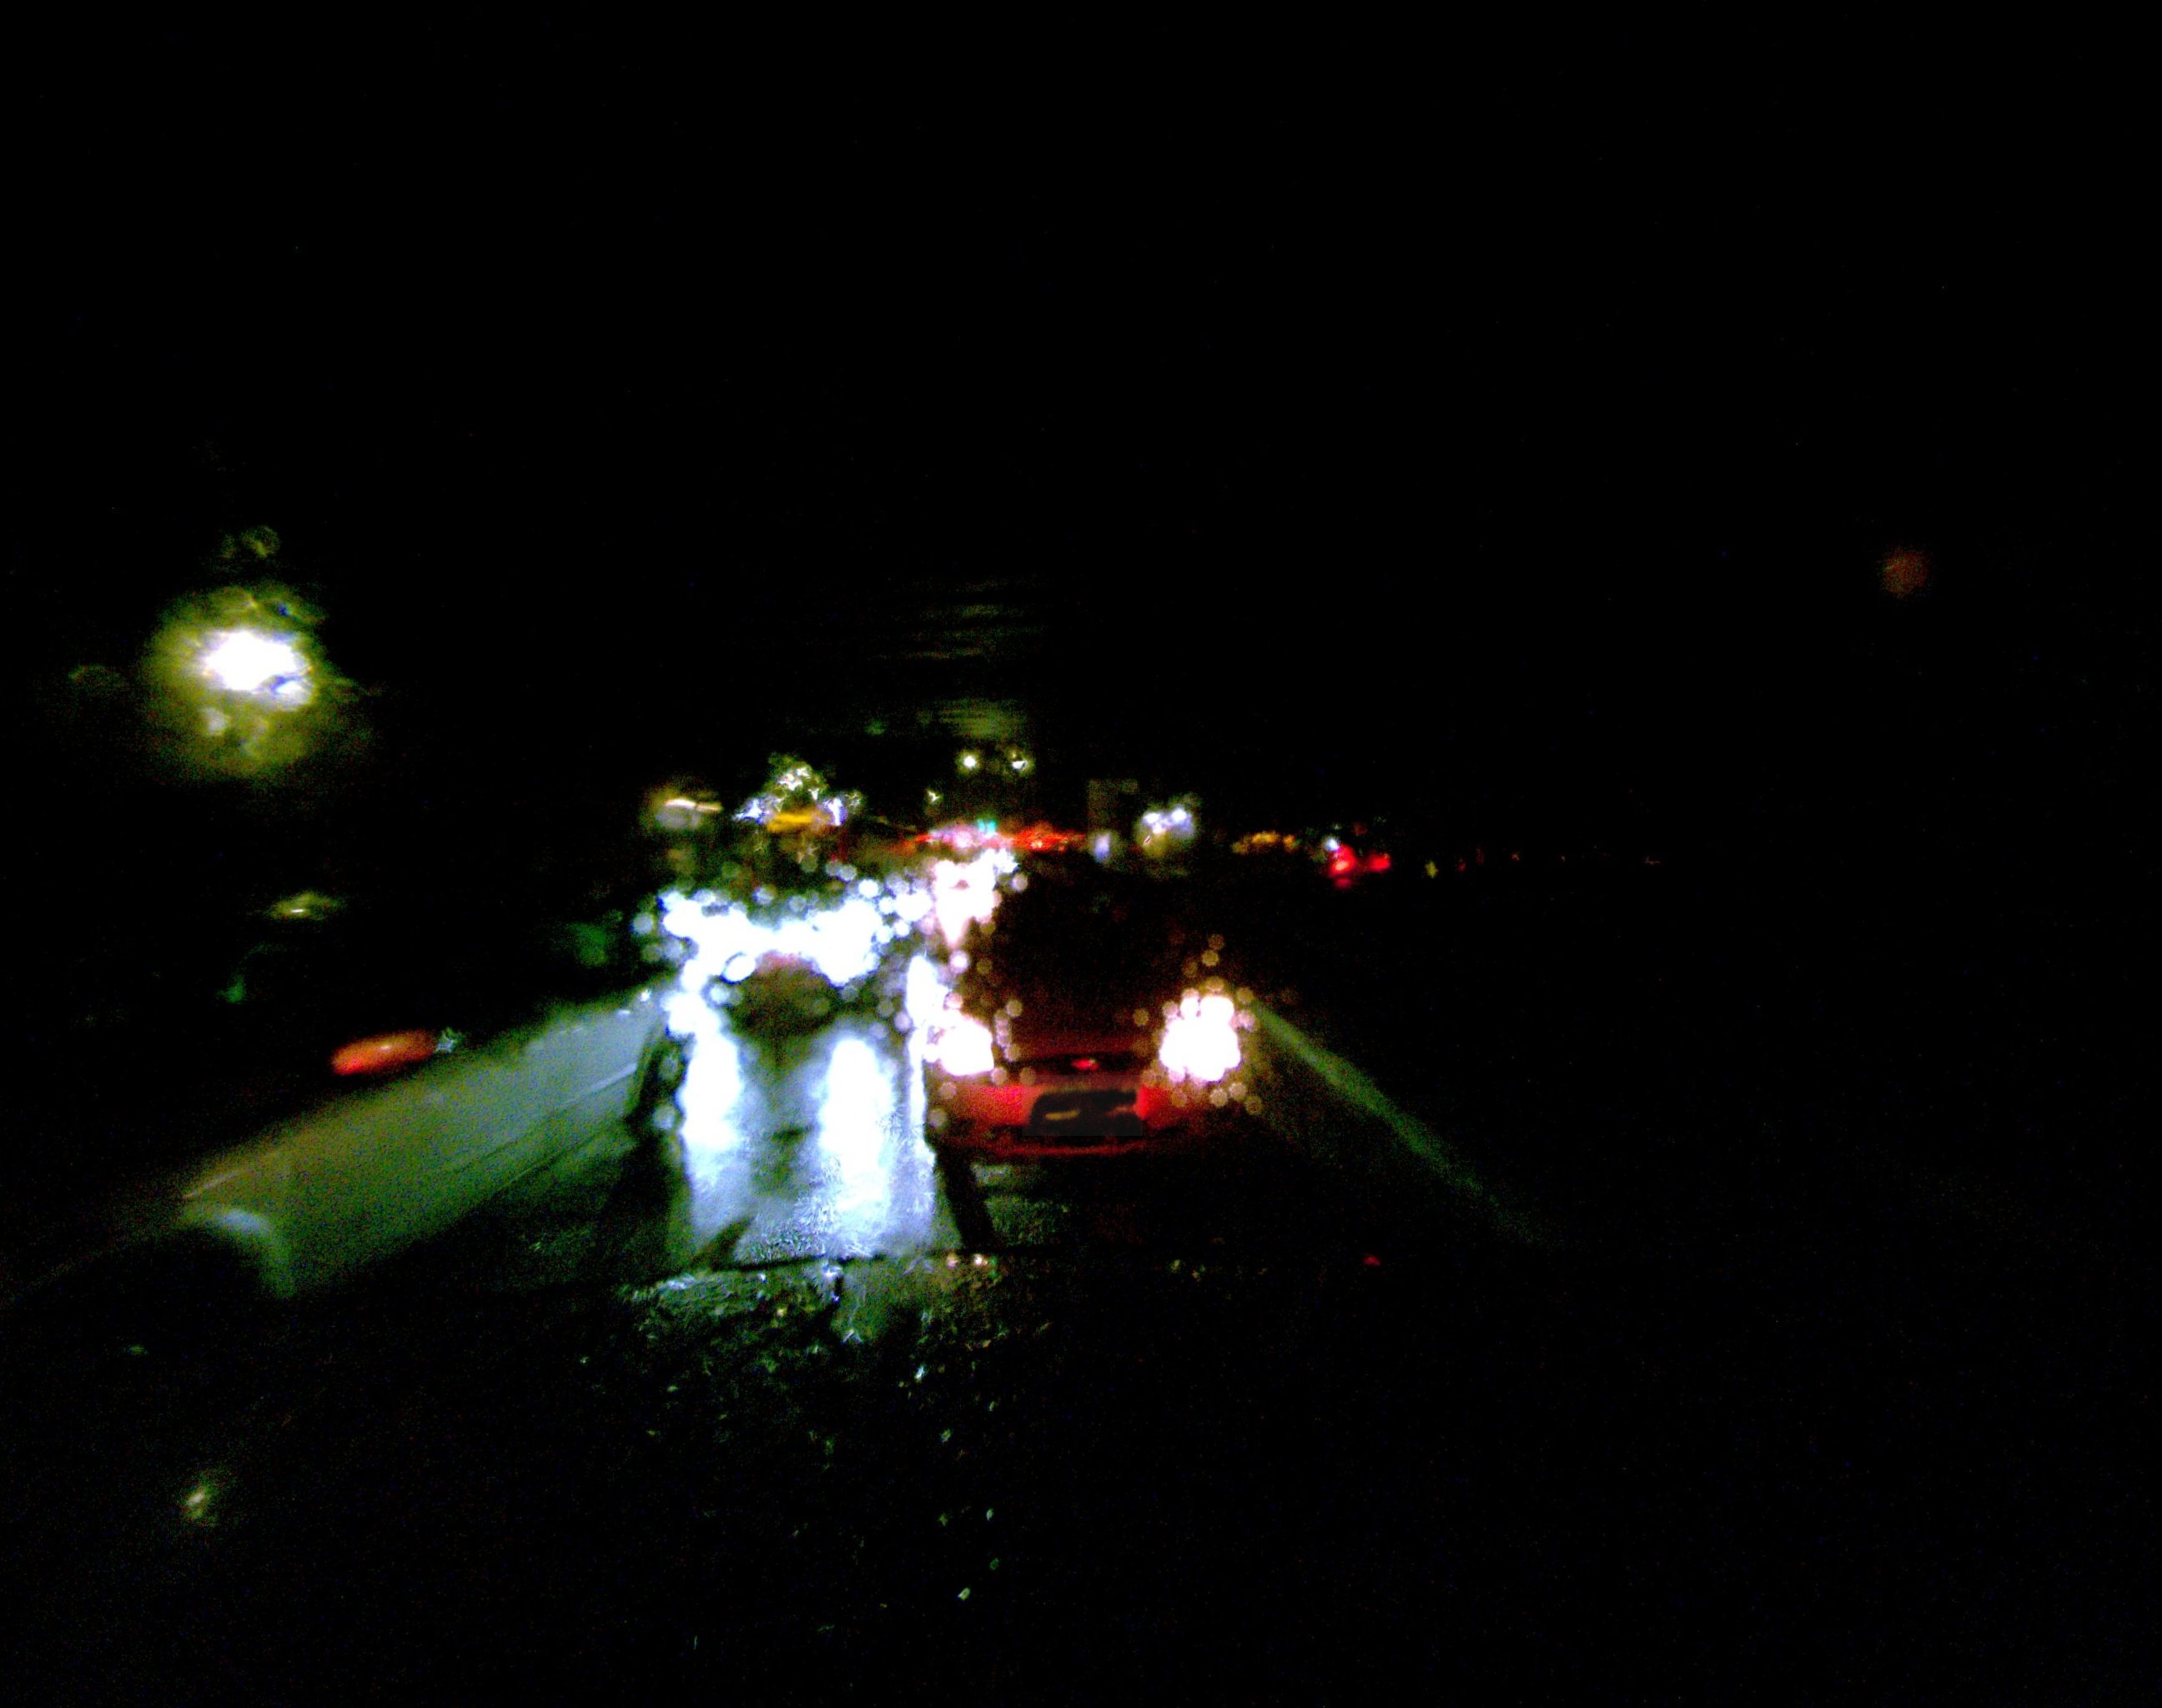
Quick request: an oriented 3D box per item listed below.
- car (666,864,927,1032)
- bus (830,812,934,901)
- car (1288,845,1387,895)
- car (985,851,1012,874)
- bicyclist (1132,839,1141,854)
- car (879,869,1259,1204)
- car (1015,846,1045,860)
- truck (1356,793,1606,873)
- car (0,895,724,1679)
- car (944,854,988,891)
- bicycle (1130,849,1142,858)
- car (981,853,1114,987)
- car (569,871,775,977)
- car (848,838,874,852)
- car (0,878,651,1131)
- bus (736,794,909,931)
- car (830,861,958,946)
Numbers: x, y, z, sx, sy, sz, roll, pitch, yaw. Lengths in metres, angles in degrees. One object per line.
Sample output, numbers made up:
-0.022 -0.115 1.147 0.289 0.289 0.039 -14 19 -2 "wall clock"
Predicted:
-3.325 0.991 9.850 1.724 1.478 4.161 -4 1 0 "car"
-8.314 0.019 32.992 2.742 3.219 9.693 -2 1 -5 "bus"
9.298 0.525 27.948 1.755 1.699 4.496 0 1 -6 "car"
-5.691 0.566 52.576 1.725 1.478 4.159 0 1 -6 "car"
5.370 -0.690 73.725 0.629 1.427 1.187 -1 1 -11 "bicyclist"
-0.072 0.891 5.513 1.755 1.438 3.973 0 1 0 "car"
-5.833 -0.156 86.222 2.044 1.478 4.489 0 1 -23 "car"
24.623 -1.243 47.426 13.671 4.416 2.743 -1 1 7 "truck"
-3.164 1.024 2.799 1.724 1.438 4.161 -1 1 0 "car"
-4.996 0.750 33.488 1.725 1.478 4.159 0 1 -6 "car"
5.354 -0.058 73.802 0.629 0.899 2.211 -1 1 -11 "bicycle"
-0.536 0.851 11.802 1.724 1.695 3.972 0 1 -3 "car"
-7.147 1.127 13.822 1.725 1.478 4.160 0 1 -4 "car"
-23.743 -0.961 81.924 1.712 1.382 3.990 -2 1 -32 "car"
-6.445 1.083 7.472 1.724 1.478 4.786 -1 1 0 "car"
-7.390 0.139 23.375 2.742 3.258 9.693 -2 1 -5 "bus"
-3.704 0.913 15.722 1.698 1.455 3.973 0 1 0 "car"
